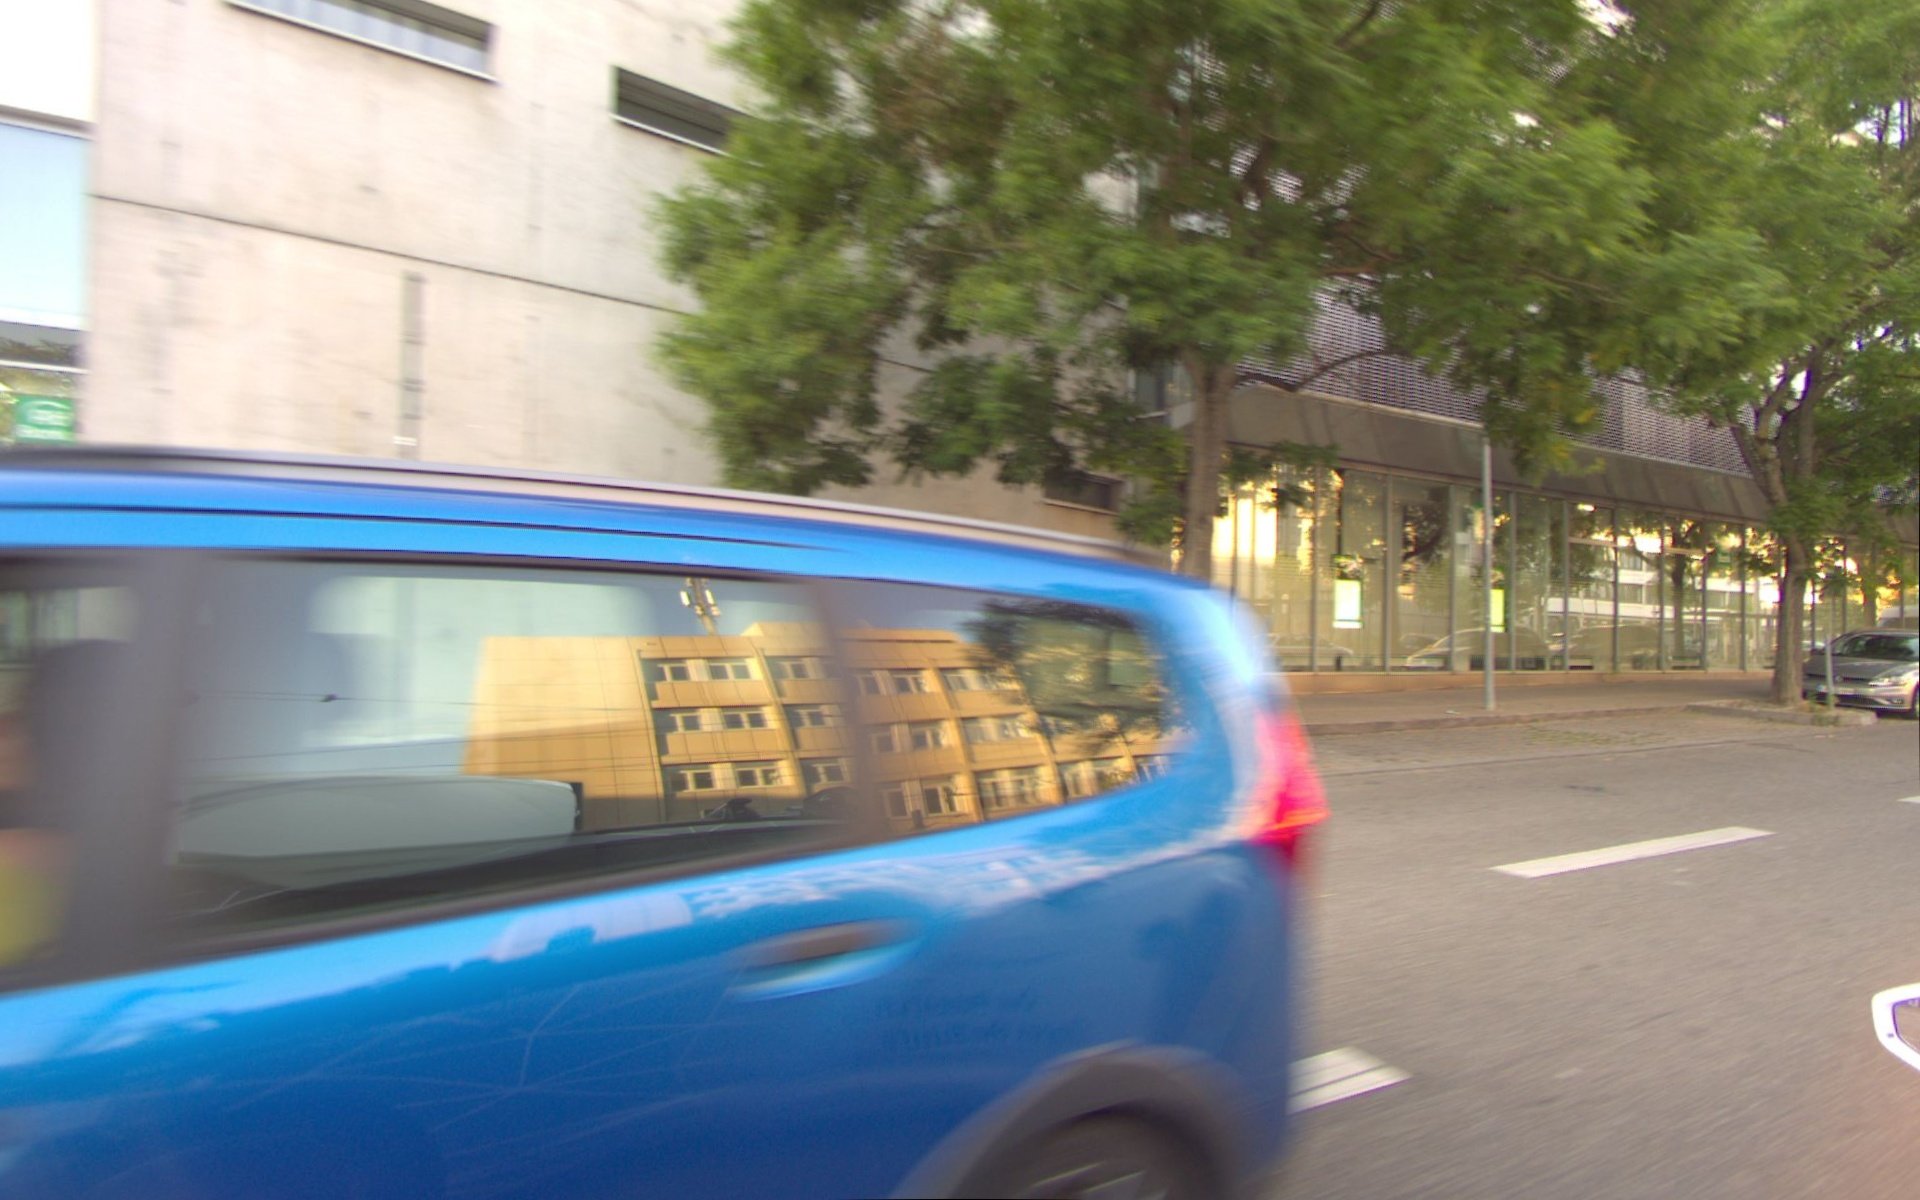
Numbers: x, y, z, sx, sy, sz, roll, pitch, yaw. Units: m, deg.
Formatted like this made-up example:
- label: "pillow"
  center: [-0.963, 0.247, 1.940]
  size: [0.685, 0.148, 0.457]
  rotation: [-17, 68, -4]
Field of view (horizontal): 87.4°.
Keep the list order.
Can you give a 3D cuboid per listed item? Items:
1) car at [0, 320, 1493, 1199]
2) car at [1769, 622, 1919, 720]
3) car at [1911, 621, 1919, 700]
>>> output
- label: "car"
  center: [-1.152, 0.593, 1.833]
  size: [4.221, 1.700, 1.740]
  rotation: [2, -1, -29]
- label: "car"
  center: [16.585, 1.214, 17.979]
  size: [4.571, 1.481, 1.695]
  rotation: [2, 1, -30]
- label: "car"
  center: [21.689, 1.311, 20.835]
  size: [4.418, 1.590, 1.582]
  rotation: [2, 1, -30]
